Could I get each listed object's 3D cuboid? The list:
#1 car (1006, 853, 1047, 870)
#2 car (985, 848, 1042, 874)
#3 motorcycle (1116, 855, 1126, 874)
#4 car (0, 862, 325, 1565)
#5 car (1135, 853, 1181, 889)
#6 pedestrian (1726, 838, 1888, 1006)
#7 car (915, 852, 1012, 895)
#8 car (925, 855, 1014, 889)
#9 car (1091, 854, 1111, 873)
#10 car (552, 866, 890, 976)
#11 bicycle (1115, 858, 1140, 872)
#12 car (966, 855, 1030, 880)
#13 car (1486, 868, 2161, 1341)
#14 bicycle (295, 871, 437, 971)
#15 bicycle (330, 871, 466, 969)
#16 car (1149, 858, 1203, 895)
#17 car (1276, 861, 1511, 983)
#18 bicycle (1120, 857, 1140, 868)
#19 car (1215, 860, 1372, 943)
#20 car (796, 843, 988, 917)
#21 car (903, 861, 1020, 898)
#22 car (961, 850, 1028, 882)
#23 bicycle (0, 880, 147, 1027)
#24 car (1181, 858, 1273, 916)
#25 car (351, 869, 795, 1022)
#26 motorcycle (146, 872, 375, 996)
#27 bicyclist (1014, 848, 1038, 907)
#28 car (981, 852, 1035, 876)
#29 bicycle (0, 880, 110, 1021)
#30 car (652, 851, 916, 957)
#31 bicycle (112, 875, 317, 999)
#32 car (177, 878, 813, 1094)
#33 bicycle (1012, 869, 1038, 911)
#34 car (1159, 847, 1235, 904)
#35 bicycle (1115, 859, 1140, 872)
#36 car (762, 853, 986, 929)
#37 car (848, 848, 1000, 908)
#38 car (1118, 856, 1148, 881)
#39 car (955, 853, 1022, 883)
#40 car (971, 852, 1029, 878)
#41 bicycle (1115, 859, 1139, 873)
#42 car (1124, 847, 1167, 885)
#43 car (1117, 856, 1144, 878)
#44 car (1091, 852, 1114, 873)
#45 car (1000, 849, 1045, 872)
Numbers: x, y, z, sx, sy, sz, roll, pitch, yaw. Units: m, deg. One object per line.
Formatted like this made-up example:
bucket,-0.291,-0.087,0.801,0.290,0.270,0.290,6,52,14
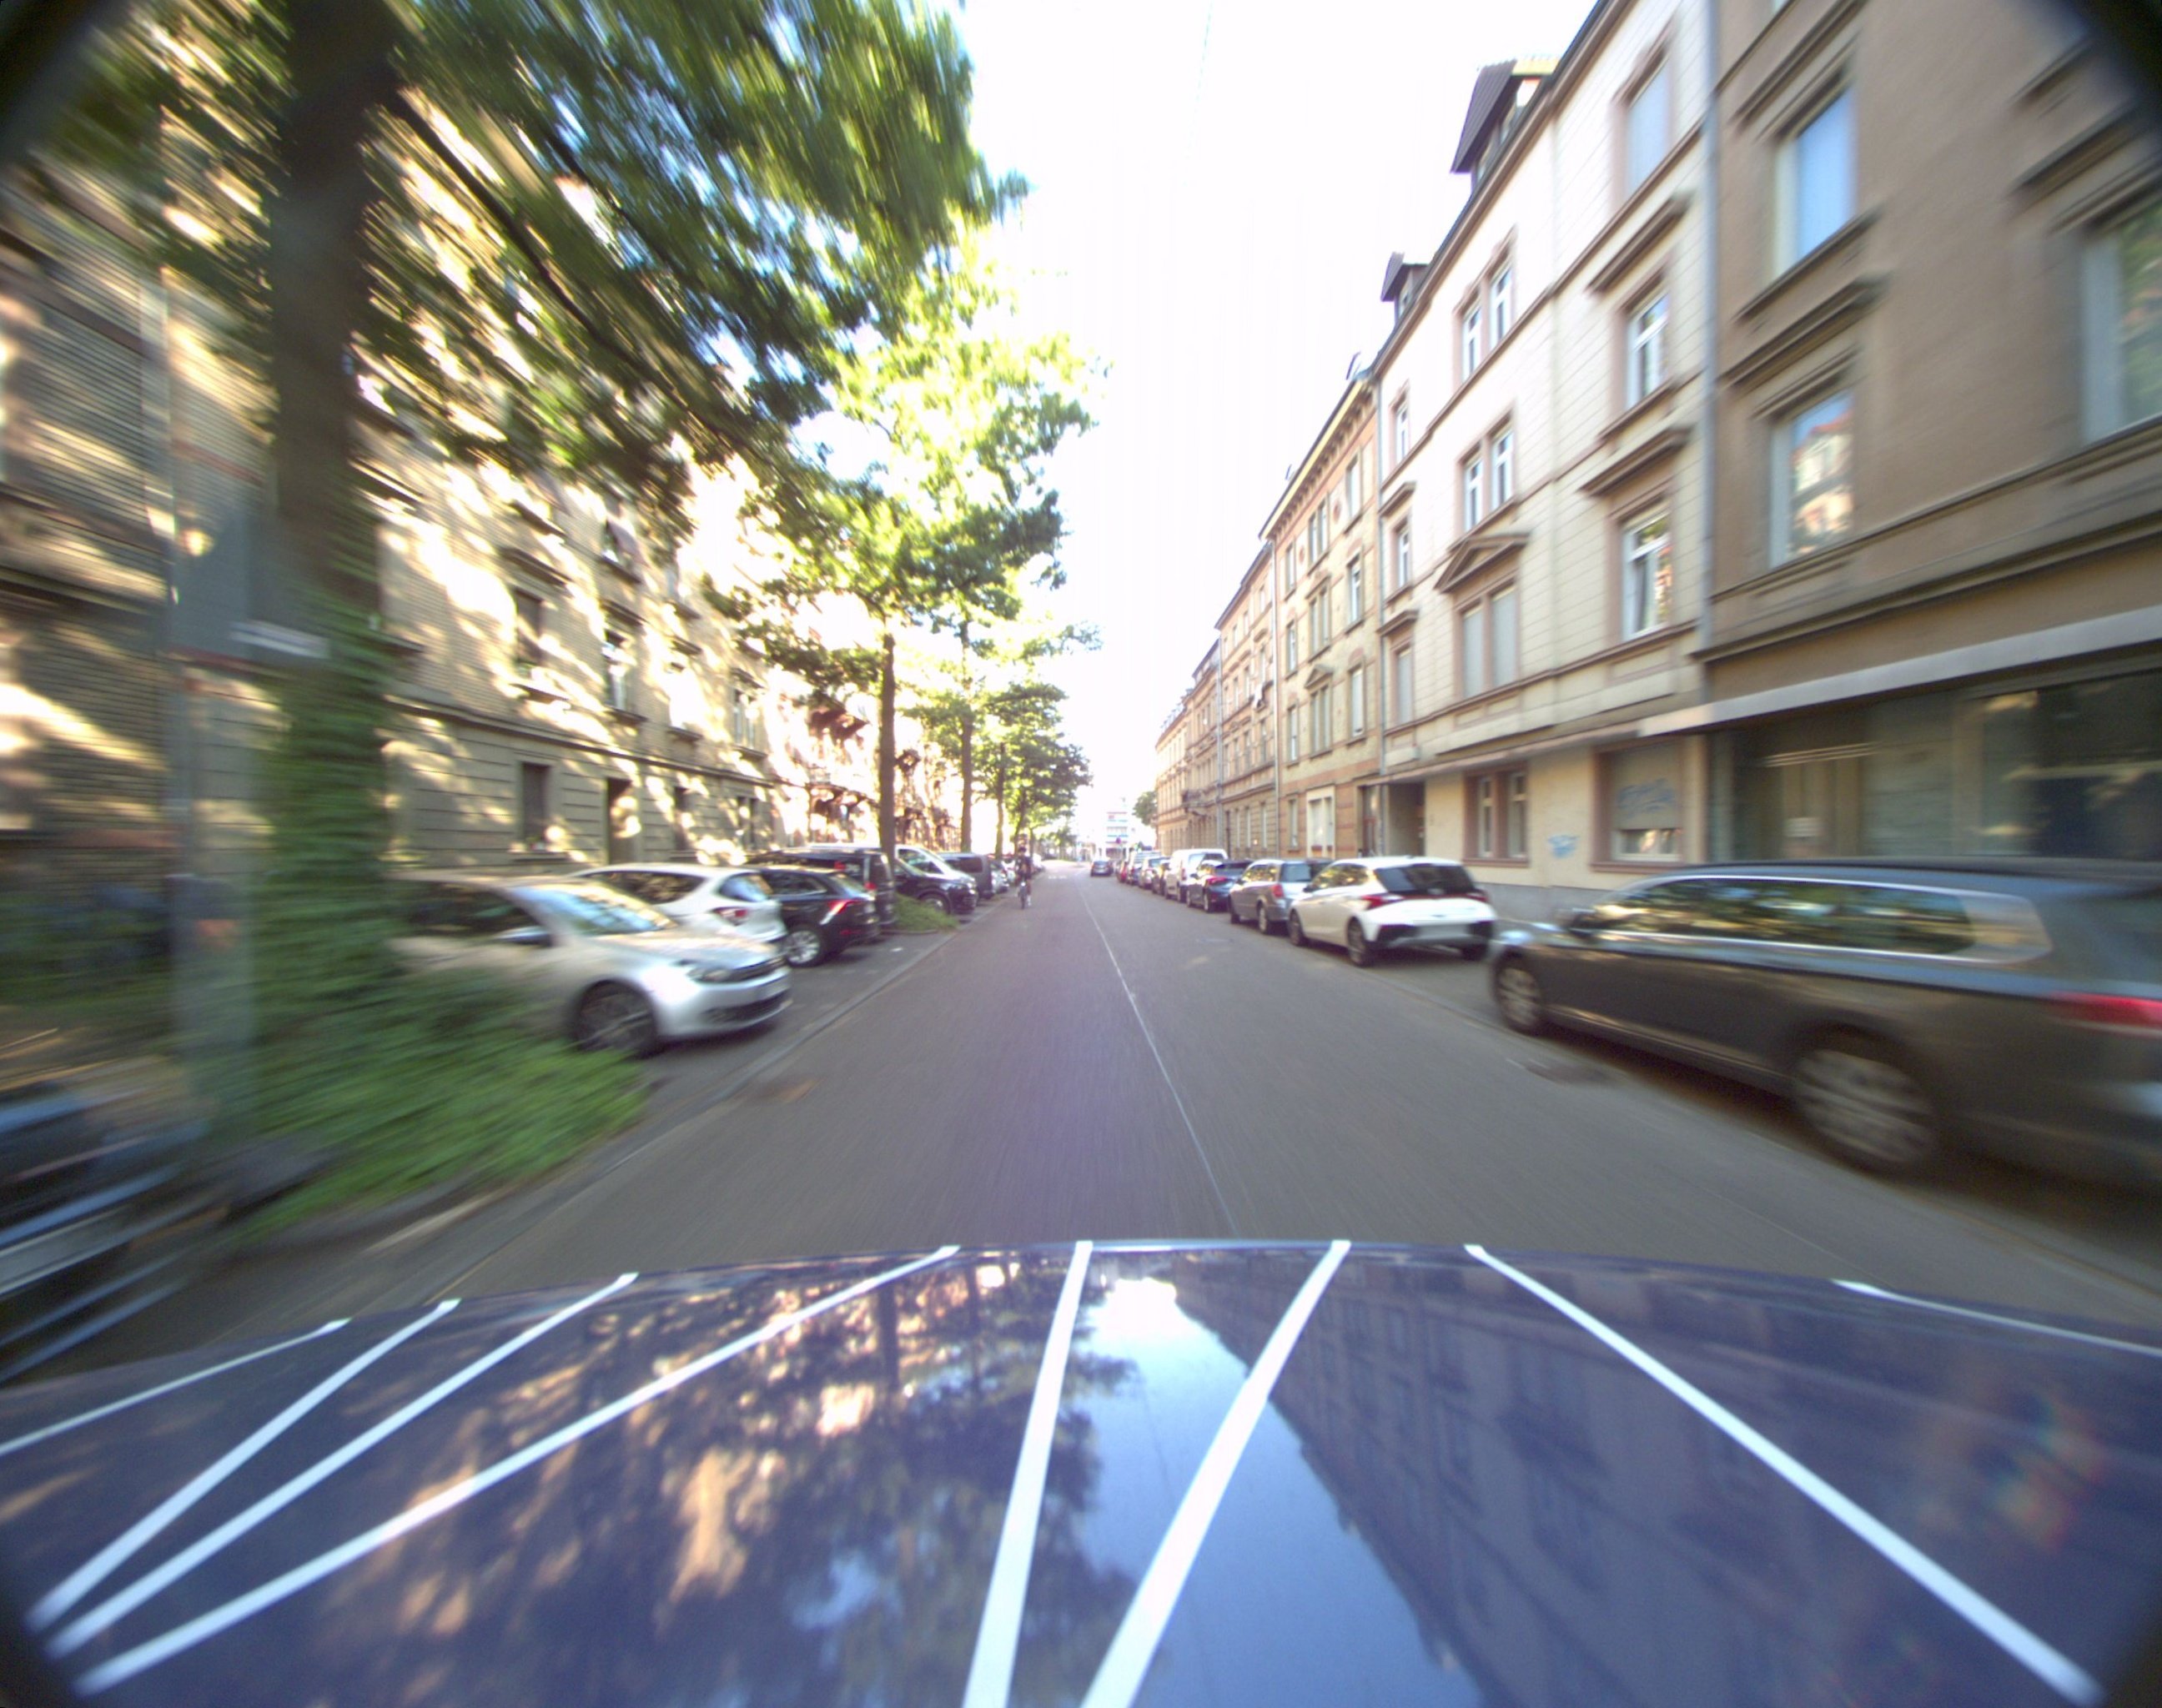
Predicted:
car,-5.635,0.790,78.675,4.057,1.521,1.781,4,0,-1
car,-5.883,0.618,66.295,4.699,1.966,1.925,4,0,-1
motorcycle,3.236,0.856,61.281,0.624,1.482,2.489,-2,0,-1
car,-4.837,0.920,1.625,4.487,1.647,1.891,-1,2,1
car,3.856,0.813,38.528,1.771,1.648,4.157,-2,0,-1
pedestrian,7.503,0.662,7.906,0.697,1.622,1.018,-1,1,-2
car,-5.545,0.899,36.240,4.242,1.875,1.782,-2,0,0
car,-5.627,0.893,38.712,4.243,1.579,1.738,2,0,-3
car,1.784,0.831,69.691,1.745,1.630,3.825,-2,0,1
car,-5.186,0.942,11.437,4.156,1.446,1.936,1,0,-2
bicycle,3.890,0.938,63.896,2.043,1.092,0.587,-2,1,1
car,-5.573,0.900,51.456,4.056,1.571,1.781,2,0,1
car,4.504,0.867,4.443,1.867,1.464,4.488,-1,0,0
bicycle,-10.590,0.937,11.349,0.369,1.311,1.883,-1,0,-2
bicycle,-10.178,0.933,11.413,0.369,1.311,1.883,-1,0,-2
car,3.952,0.906,32.115,1.641,1.413,3.824,-2,0,-2
car,4.433,0.863,11.522,1.761,1.464,4.087,-1,0,-2
bicycle,5.300,0.906,82.447,2.042,1.092,0.500,-2,1,9
car,4.281,0.875,16.128,1.891,1.436,4.541,-1,0,-2
car,-5.227,0.716,21.637,4.934,1.890,2.175,2,0,-4
car,-4.842,1.019,31.162,4.469,1.360,1.903,1,0,1
car,-5.537,0.749,49.025,4.056,1.875,1.781,2,0,1
bicycle,-10.116,0.936,7.134,0.375,1.311,1.883,-1,0,-2
car,4.131,0.882,22.149,1.751,1.464,4.243,-1,0,-2
car,-5.685,0.977,8.931,3.998,1.486,1.686,-1,0,-4
motorcycle,-9.921,0.901,9.321,0.765,1.311,1.883,-1,0,-2
bicyclist,-1.794,0.747,24.734,0.712,1.865,1.120,0,0,-1
car,-5.802,0.809,60.983,4.057,1.612,1.781,4,0,0
bicycle,-10.516,0.940,7.147,0.369,1.311,1.883,-1,0,-2
car,-5.395,0.878,14.242,4.135,1.778,1.945,-1,0,1
bicycle,-10.512,0.938,9.329,0.369,1.311,1.883,-1,0,-2
car,-4.572,0.994,6.395,3.997,1.448,1.687,-1,0,0
bicycle,-1.805,1.146,24.689,0.712,1.252,1.887,0,0,-1
car,4.080,0.718,27.406,1.847,1.822,4.605,-2,0,-2
bicycle,3.928,0.975,64.530,2.043,1.092,0.499,-2,1,1
car,-4.892,0.866,18.603,4.934,1.623,2.077,2,0,-4
car,-5.225,0.767,25.255,4.684,1.879,1.904,0,0,-22
car,3.395,0.917,50.222,1.641,1.482,3.824,-2,0,-1
car,-5.623,0.854,46.574,3.843,1.673,1.739,2,0,1
car,-5.971,0.814,56.317,4.057,1.612,1.781,4,0,0
bicycle,4.022,1.060,66.809,2.043,1.092,0.499,-2,1,1
car,3.734,0.672,44.698,1.947,2.045,4.744,-2,0,-1
car,3.540,0.907,54.789,1.641,1.482,3.824,-2,0,-1
car,1.857,0.709,65.307,1.868,1.620,3.825,-2,0,1
car,-5.658,0.609,73.638,4.057,1.922,1.781,4,0,-1
